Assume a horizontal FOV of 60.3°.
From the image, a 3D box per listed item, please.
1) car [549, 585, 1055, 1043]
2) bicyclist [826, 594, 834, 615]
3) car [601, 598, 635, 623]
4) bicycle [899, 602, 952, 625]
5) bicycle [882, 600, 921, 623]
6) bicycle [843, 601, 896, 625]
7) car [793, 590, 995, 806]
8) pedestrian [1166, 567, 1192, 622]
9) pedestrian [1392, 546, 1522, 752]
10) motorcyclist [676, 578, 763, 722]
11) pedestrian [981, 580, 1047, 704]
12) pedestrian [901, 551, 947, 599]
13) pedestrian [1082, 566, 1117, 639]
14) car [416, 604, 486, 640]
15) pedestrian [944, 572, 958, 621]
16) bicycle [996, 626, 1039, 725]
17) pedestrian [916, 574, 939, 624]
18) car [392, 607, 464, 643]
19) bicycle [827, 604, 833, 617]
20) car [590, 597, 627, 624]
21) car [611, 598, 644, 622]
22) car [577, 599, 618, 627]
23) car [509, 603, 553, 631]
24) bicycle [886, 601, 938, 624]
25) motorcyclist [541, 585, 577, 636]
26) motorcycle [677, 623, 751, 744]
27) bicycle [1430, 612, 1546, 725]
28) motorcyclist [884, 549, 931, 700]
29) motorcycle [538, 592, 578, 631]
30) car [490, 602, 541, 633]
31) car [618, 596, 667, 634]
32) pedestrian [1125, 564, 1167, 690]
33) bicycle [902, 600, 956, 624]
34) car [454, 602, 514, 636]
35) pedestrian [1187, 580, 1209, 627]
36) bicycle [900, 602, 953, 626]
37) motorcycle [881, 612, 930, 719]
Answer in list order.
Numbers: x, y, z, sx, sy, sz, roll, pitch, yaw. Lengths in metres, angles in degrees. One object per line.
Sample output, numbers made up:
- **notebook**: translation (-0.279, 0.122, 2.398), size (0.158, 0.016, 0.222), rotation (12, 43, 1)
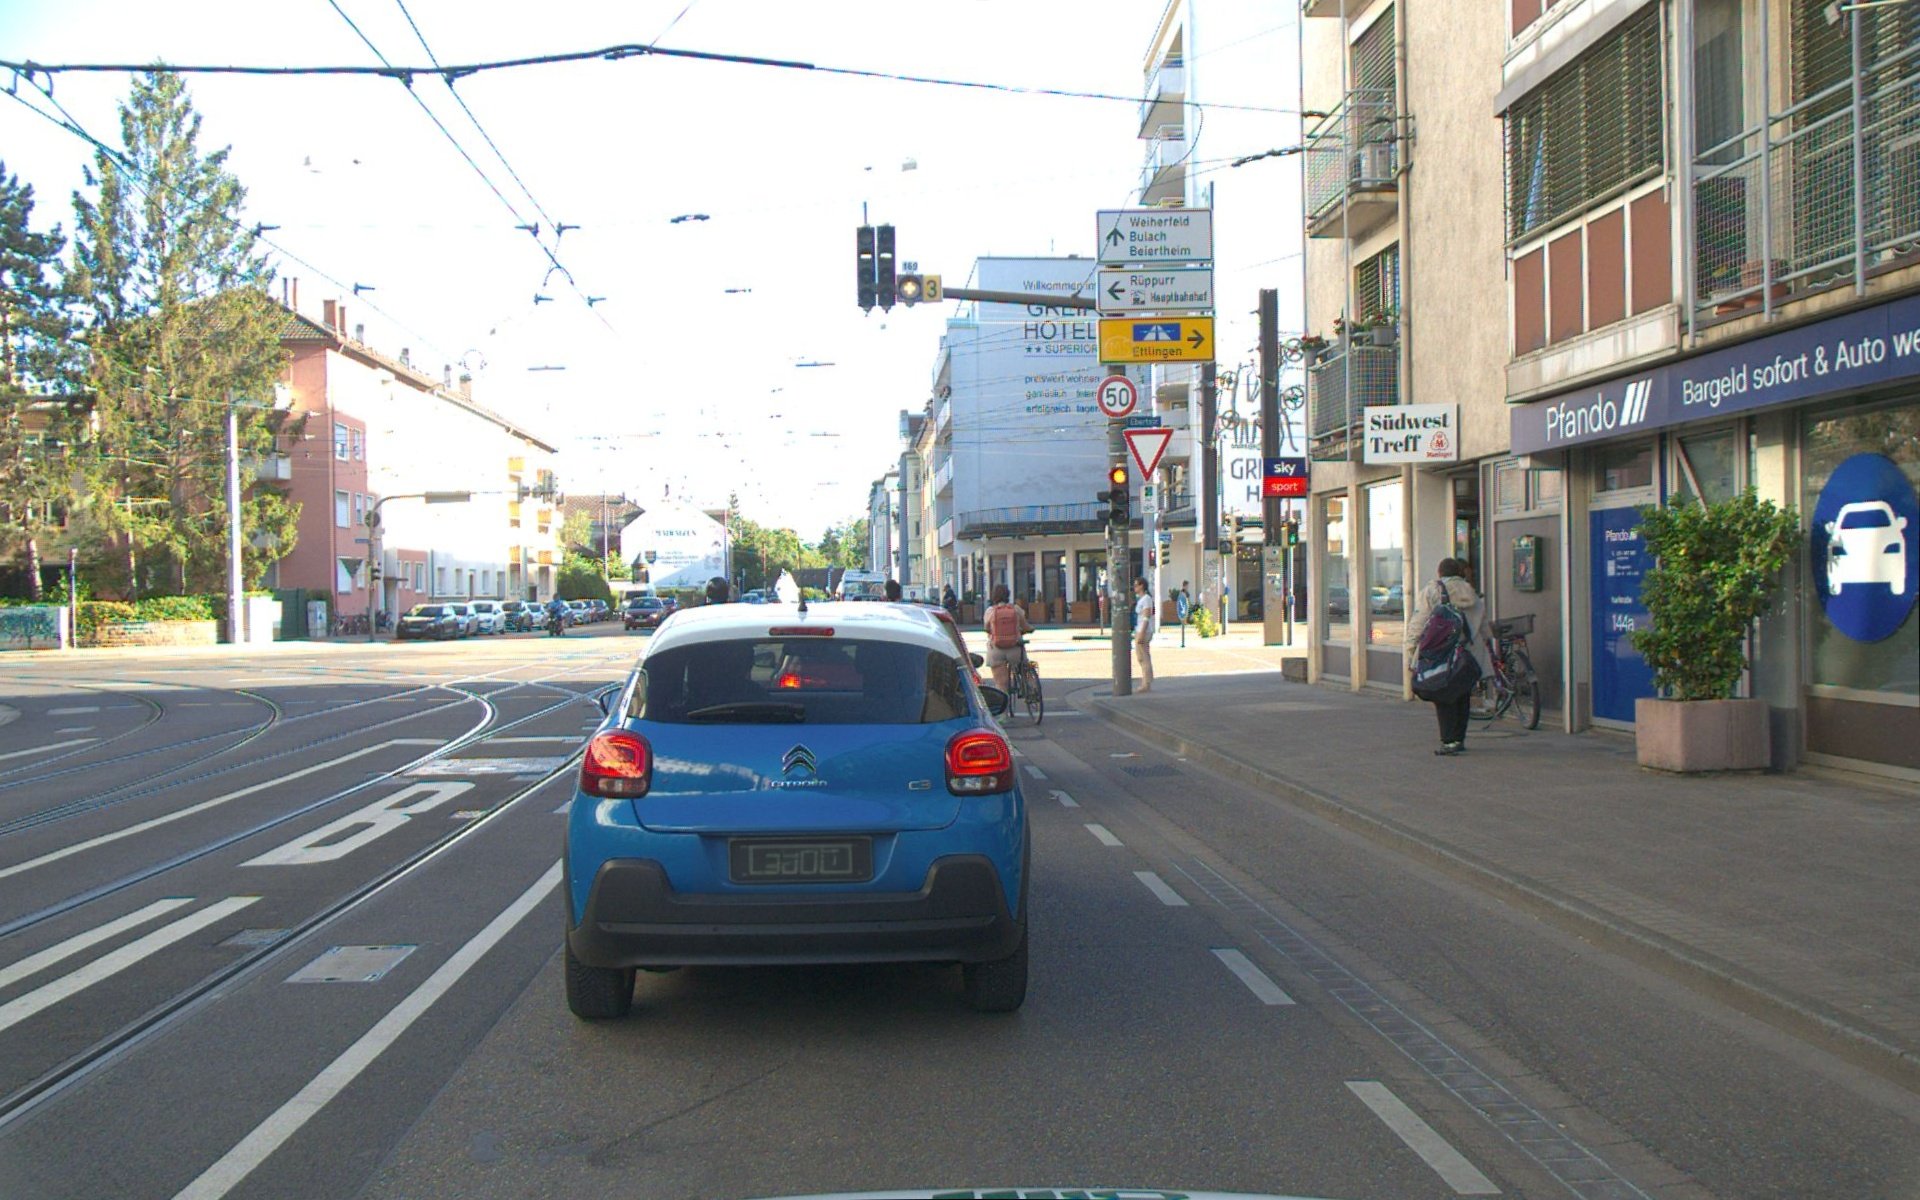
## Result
- **car**: translation (-0.537, 0.708, 7.154), size (1.620, 1.469, 3.522), rotation (1, 0, -1)
- **bicyclist**: translation (-9.451, 0.345, 120.224), size (0.550, 1.503, 0.747), rotation (1, -1, -3)
- **car**: translation (-24.019, 0.748, 116.271), size (1.797, 1.716, 3.997), rotation (1, 0, -4)
- **bicycle**: translation (-1.406, 0.556, 67.326), size (2.093, 0.917, 0.366), rotation (1, -1, -10)
- **bicycle**: translation (-2.465, 0.491, 69.202), size (1.751, 0.917, 0.365), rotation (1, -1, 34)
- **bicycle**: translation (-3.613, 0.533, 66.201), size (2.093, 0.917, 0.366), rotation (1, -1, -10)
- **car**: translation (-0.488, 0.701, 13.133), size (1.395, 1.493, 2.923), rotation (-1, 0, -1)
- **pedestrian**: translation (8.275, -0.204, 62.530), size (0.743, 2.049, 0.710), rotation (1, -1, 30)
- **pedestrian**: translation (4.054, 0.392, 13.542), size (0.808, 1.620, 0.751), rotation (1, -1, -1)
- **motorcyclist**: translation (-2.624, 0.541, 18.100), size (0.843, 1.531, 0.598), rotation (1, -1, -1)
- **pedestrian**: translation (0.653, 0.507, 20.214), size (0.761, 1.486, 0.681), rotation (1, -1, -1)
- **pedestrian**: translation (-1.605, -1.077, 73.508), size (1.953, 2.049, 3.999), rotation (1, 0, -1)
- **pedestrian**: translation (3.961, 0.074, 46.978), size (0.907, 2.049, 0.759), rotation (1, -1, -1)
- **car**: translation (-22.397, 0.956, 72.956), size (1.778, 1.524, 4.299), rotation (1, 0, -1)
- **pedestrian**: translation (-0.383, -0.149, 70.212), size (0.565, 2.049, 0.625), rotation (1, -1, -3)
- **bicycle**: translation (0.699, 0.905, 20.484), size (0.419, 1.142, 1.998), rotation (1, 0, -1)
- **pedestrian**: translation (-1.367, -0.037, 69.159), size (0.625, 2.049, 0.715), rotation (1, -1, -37)
- **car**: translation (-21.967, 1.014, 68.451), size (1.757, 1.446, 3.994), rotation (1, 0, -2)
- **bicycle**: translation (-9.472, 0.767, 120.665), size (0.342, 0.919, 1.858), rotation (1, 0, -2)
- **car**: translation (-23.569, 0.688, 110.954), size (1.845, 1.716, 3.997), rotation (1, 0, -4)
- **car**: translation (-24.286, 0.718, 120.961), size (1.809, 1.716, 3.871), rotation (1, 0, -4)
- **car**: translation (-23.153, 0.841, 105.831), size (1.944, 1.716, 3.997), rotation (1, 0, -4)
- **car**: translation (-23.780, 0.923, 91.809), size (1.699, 1.524, 3.996), rotation (1, 0, -5)
- **bicycle**: translation (-1.968, 0.508, 68.285), size (2.093, 0.917, 0.366), rotation (1, -1, -10)
- **motorcyclist**: translation (-16.218, 0.421, 66.967), size (1.162, 2.049, 1.274), rotation (-1, 0, -4)
- **motorcycle**: translation (-2.699, 0.886, 18.293), size (0.526, 1.240, 1.980), rotation (1, 0, -1)
- **bicycle**: translation (5.044, 0.631, 15.890), size (0.531, 1.016, 1.705), rotation (1, 0, -1)
- **motorcyclist**: translation (-0.612, 0.291, 19.589), size (0.516, 1.746, 0.717), rotation (1, -1, -1)
- **motorcycle**: translation (-16.214, 0.473, 66.871), size (0.905, 1.512, 3.723), rotation (1, 0, -4)
- **car**: translation (-23.000, 0.902, 85.722), size (1.750, 1.524, 3.997), rotation (1, 0, -4)
- **car**: translation (-14.591, 0.693, 76.177), size (1.740, 1.695, 3.853), rotation (1, 0, -4)
- **pedestrian**: translation (2.725, 0.397, 24.296), size (0.507, 1.814, 0.595), rotation (1, -1, -3)
- **bicycle**: translation (-1.230, 0.485, 65.899), size (2.093, 0.917, 0.366), rotation (1, -1, -10)
- **car**: translation (-22.656, 0.888, 78.859), size (1.751, 1.537, 4.148), rotation (1, 0, -2)
- **pedestrian**: translation (8.499, 0.130, 58.986), size (0.720, 1.629, 0.749), rotation (1, -1, 12)
- **bicycle**: translation (-1.345, 0.575, 66.927), size (2.093, 0.917, 0.366), rotation (1, -1, -10)
- **motorcycle**: translation (-0.620, 0.733, 19.399), size (0.515, 1.159, 2.289), rotation (1, 0, -1)
